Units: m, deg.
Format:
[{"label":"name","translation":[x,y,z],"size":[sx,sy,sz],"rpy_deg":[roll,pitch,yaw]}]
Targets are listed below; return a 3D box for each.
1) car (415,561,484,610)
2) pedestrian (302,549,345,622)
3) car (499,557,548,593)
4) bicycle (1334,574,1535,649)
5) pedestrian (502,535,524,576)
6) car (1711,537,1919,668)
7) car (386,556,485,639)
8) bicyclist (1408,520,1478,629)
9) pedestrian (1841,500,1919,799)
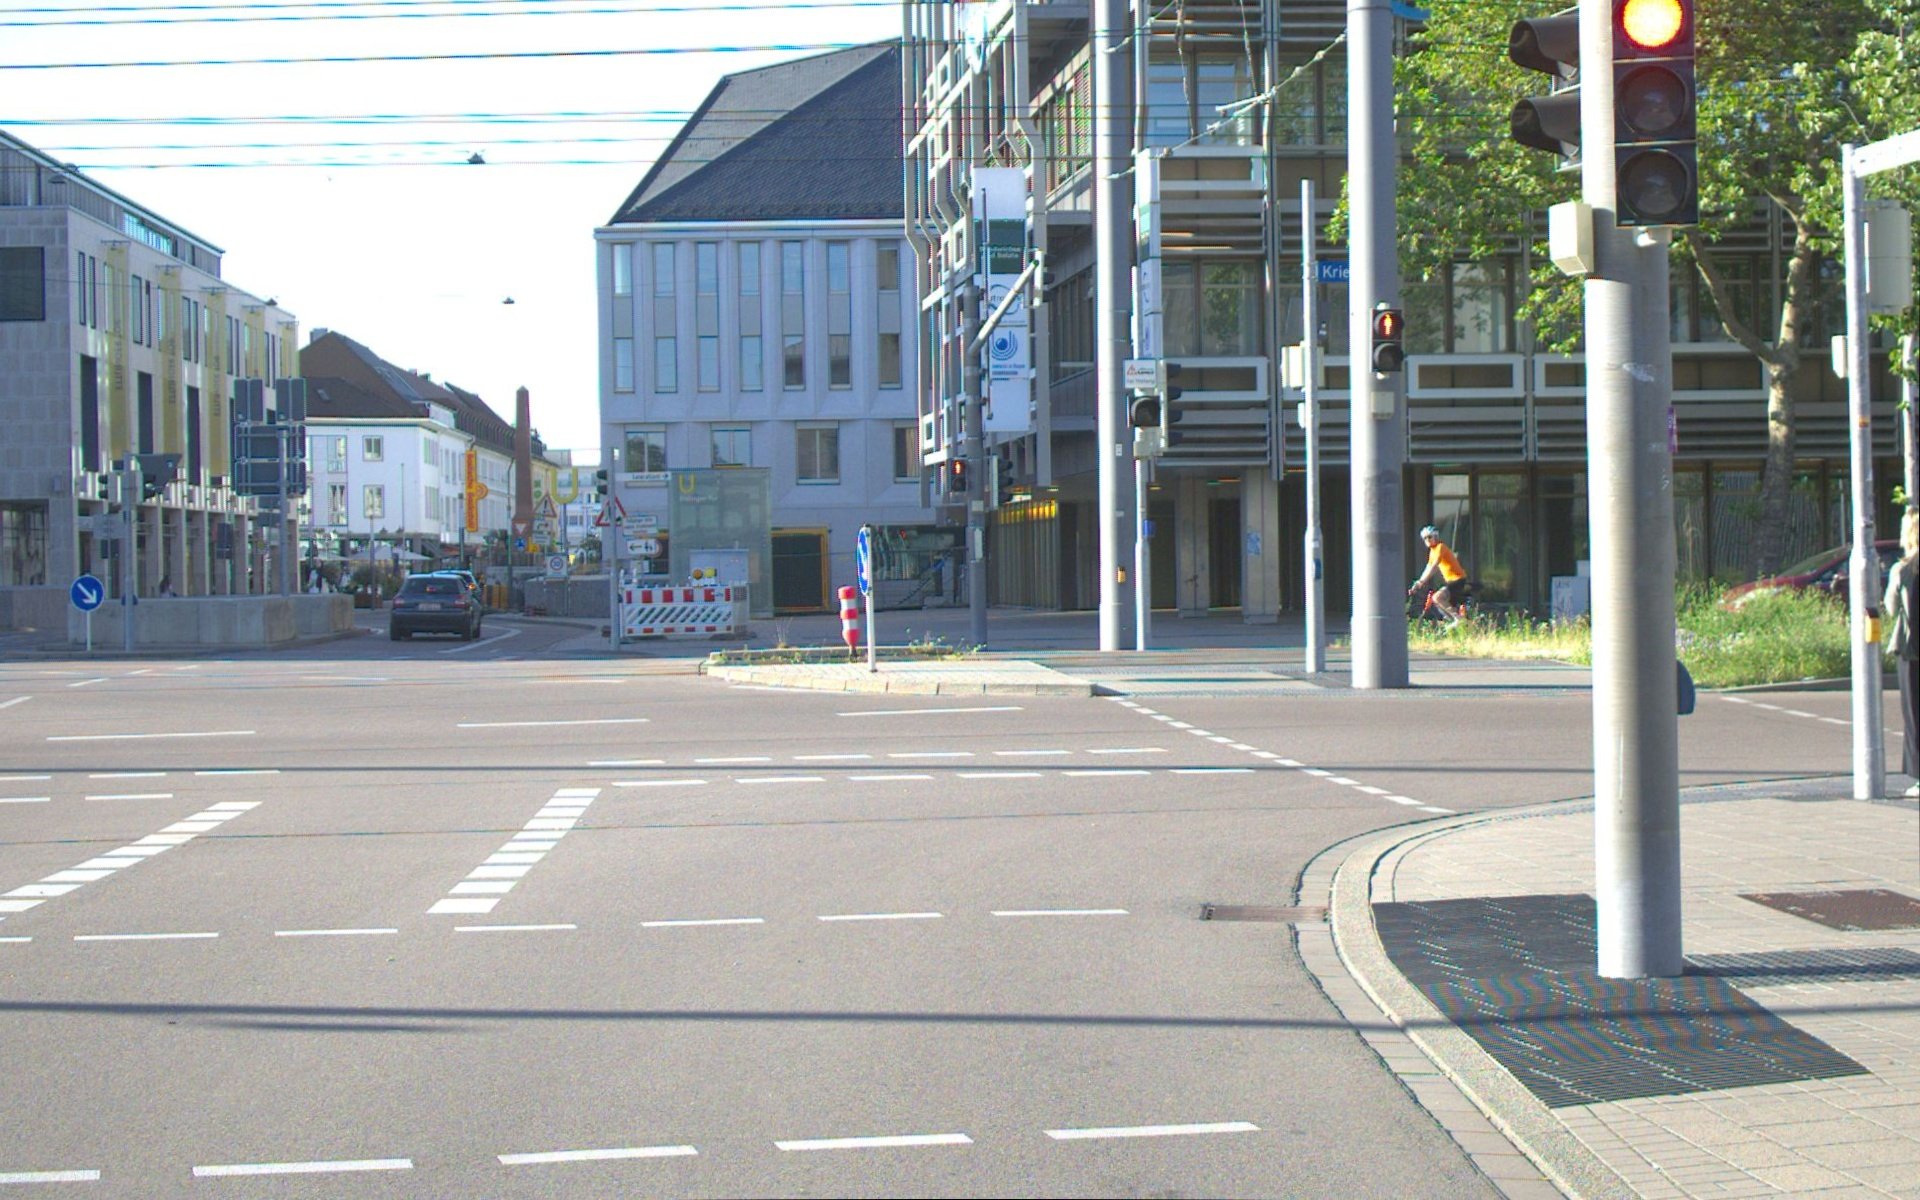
[{"label":"car","translation":[-16.019,-0.471,108.080],"size":[1.658,1.453,3.542],"rpy_deg":[-1,1,-1]},{"label":"pedestrian","translation":[-15.740,-0.363,85.082],"size":[0.899,1.776,0.808],"rpy_deg":[-1,1,-1]},{"label":"car","translation":[-18.478,-1.082,145.750],"size":[1.658,1.453,3.542],"rpy_deg":[-1,1,-1]},{"label":"bicycle","translation":[6.488,0.156,47.120],"size":[2.568,0.972,1.047],"rpy_deg":[-1,1,-3]},{"label":"pedestrian","translation":[-21.399,-2.142,164.687],"size":[0.910,1.958,0.823],"rpy_deg":[1,0,-1]},{"label":"car","translation":[12.545,0.002,46.448],"size":[4.287,1.678,1.826],"rpy_deg":[-1,1,-11]},{"label":"car","translation":[-11.229,-0.077,73.808],"size":[1.819,1.678,4.001],"rpy_deg":[-1,1,-5]},{"label":"bicyclist","translation":[6.617,-0.352,47.129],"size":[0.822,1.469,0.652],"rpy_deg":[-1,1,-4]},{"label":"pedestrian","translation":[5.363,0.255,18.925],"size":[0.765,1.608,0.874],"rpy_deg":[-1,1,-2]}]
